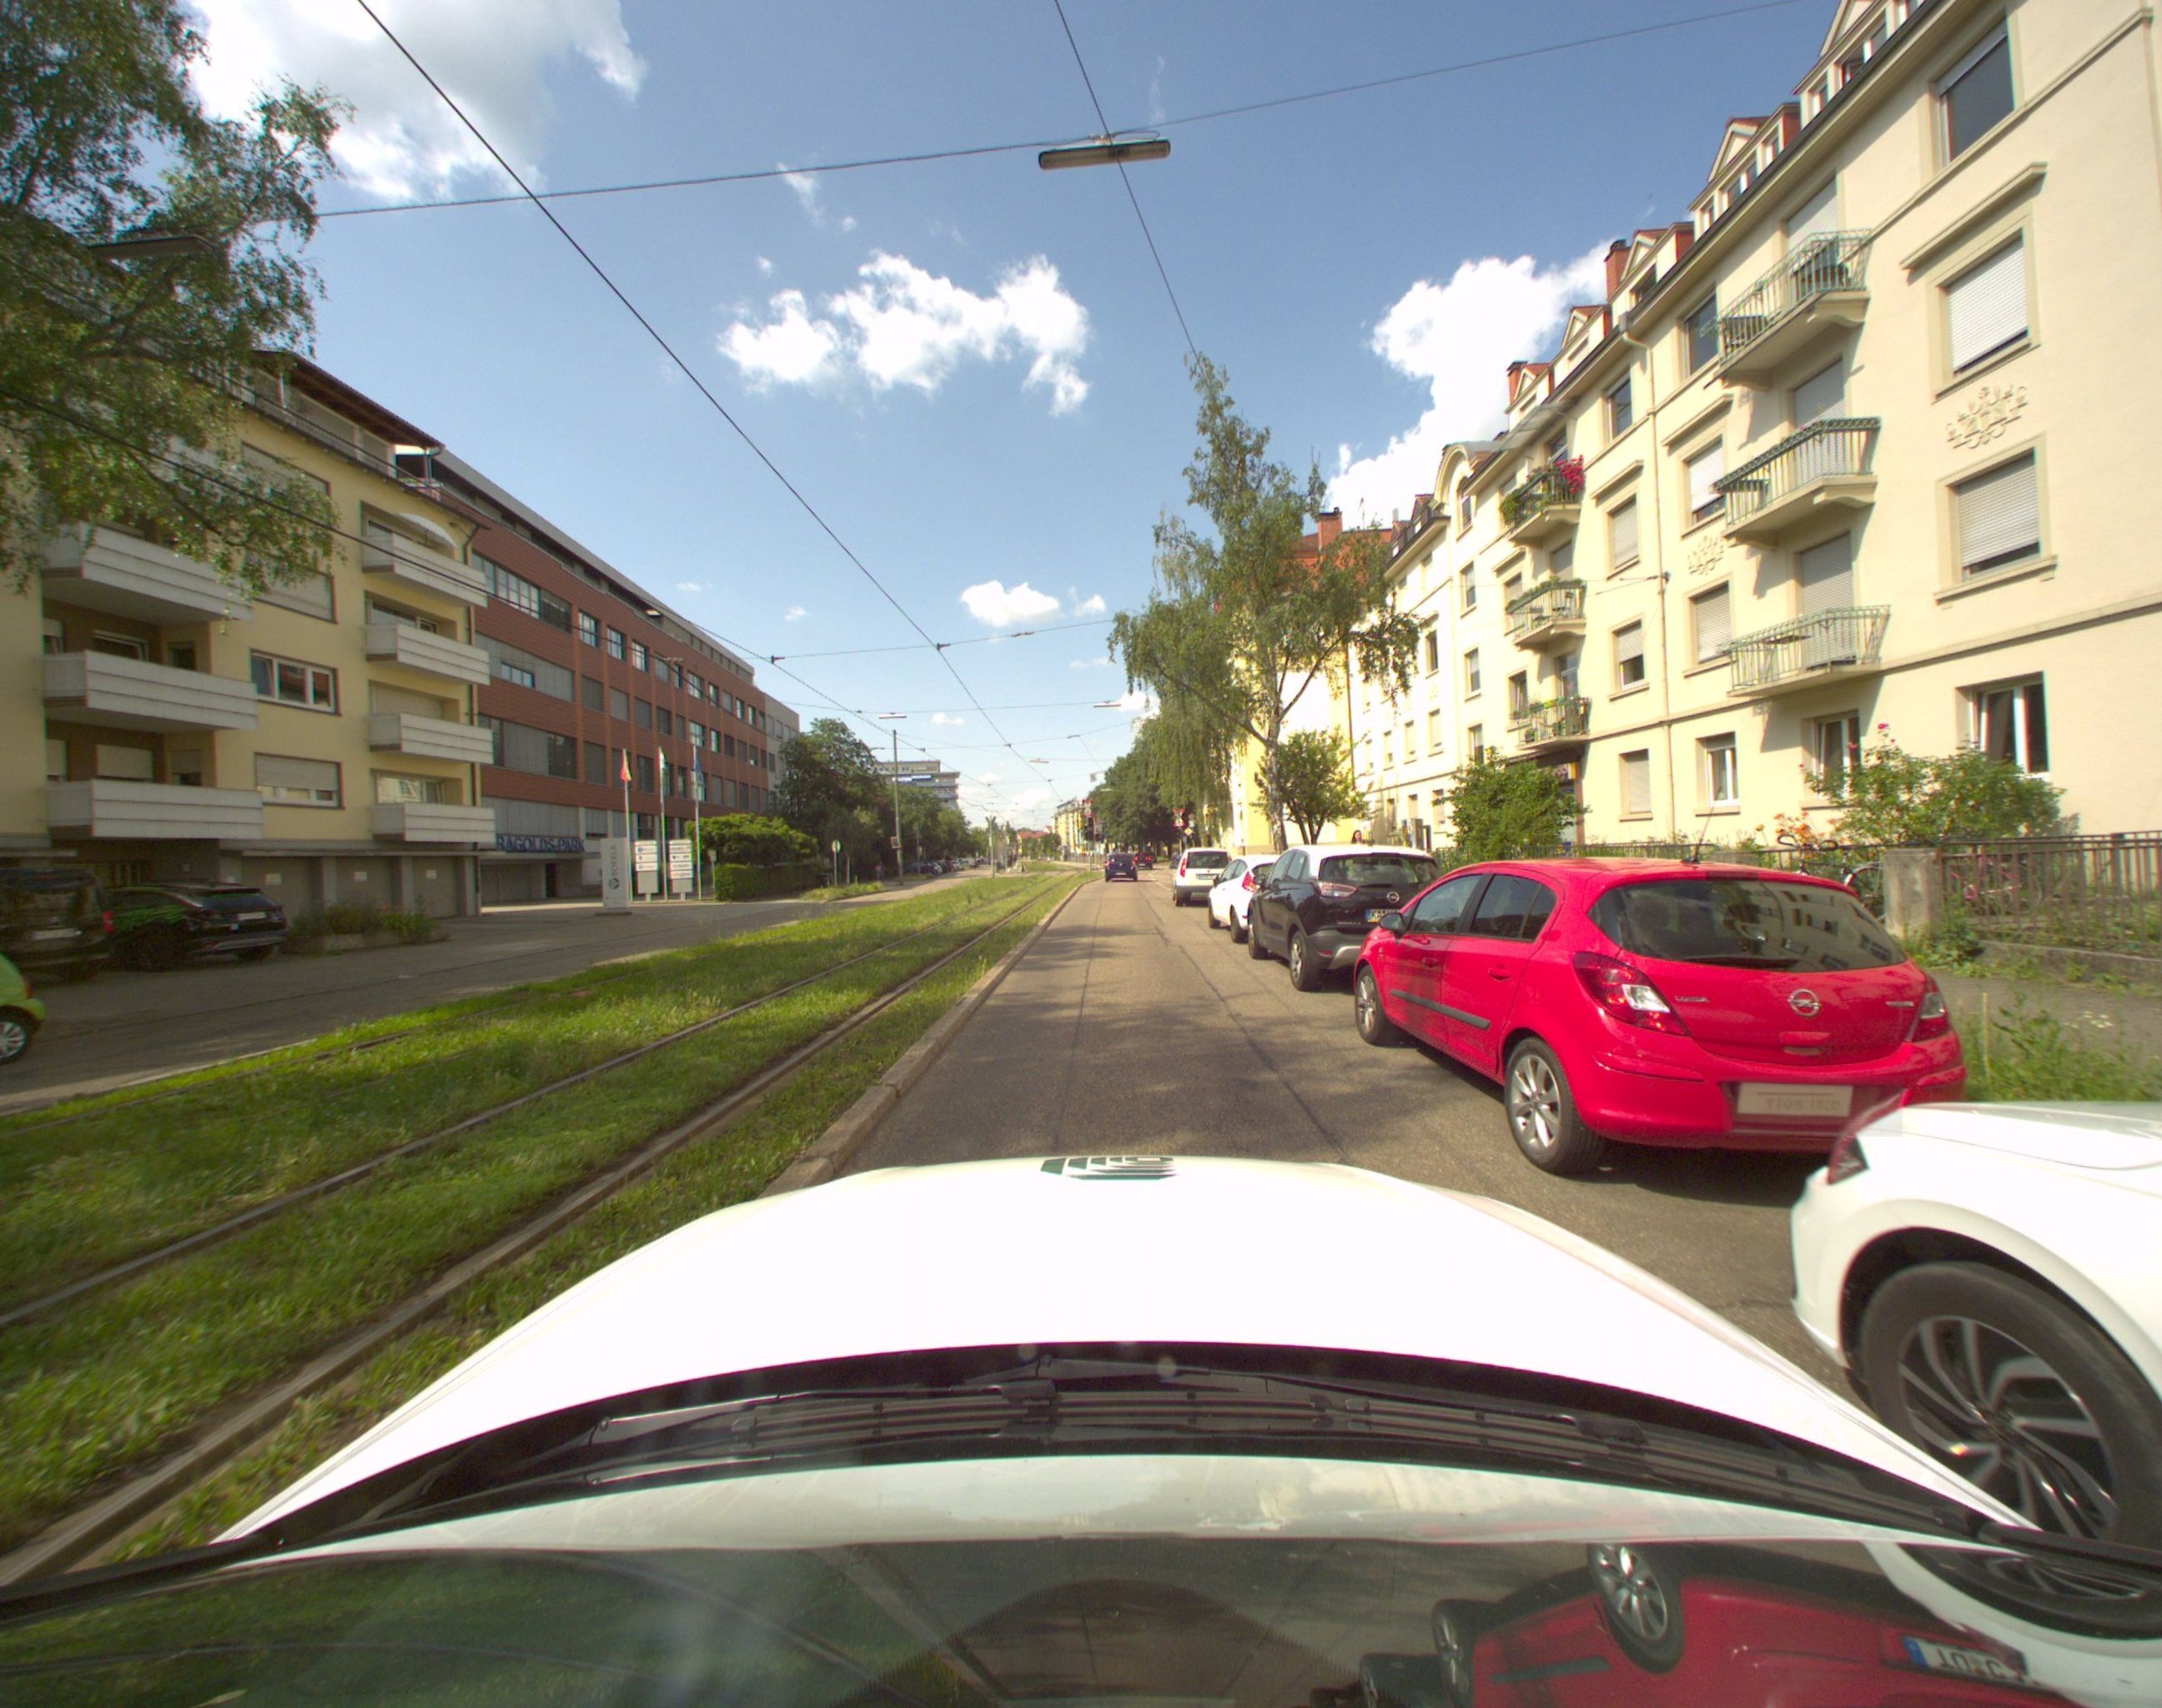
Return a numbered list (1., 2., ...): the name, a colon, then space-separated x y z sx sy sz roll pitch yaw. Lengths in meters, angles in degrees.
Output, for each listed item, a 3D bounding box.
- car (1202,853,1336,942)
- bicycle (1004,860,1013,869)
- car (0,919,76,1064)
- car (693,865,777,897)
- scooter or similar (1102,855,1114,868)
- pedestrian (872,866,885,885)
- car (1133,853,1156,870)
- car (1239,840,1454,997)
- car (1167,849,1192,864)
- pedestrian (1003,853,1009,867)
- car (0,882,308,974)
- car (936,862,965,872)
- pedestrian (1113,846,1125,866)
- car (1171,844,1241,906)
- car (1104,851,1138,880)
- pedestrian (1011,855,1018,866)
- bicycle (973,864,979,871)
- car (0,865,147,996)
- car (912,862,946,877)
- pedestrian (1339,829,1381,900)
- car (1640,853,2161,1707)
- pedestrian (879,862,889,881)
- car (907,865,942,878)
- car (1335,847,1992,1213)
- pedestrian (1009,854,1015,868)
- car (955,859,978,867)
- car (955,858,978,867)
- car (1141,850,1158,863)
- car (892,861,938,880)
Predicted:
1. car: 3.299 0.702 14.958 1.666 1.417 3.796 0 0 1
2. bicycle: -8.524 1.250 95.862 0.682 0.974 1.774 -5 0 6
3. car: -11.965 1.484 7.172 1.587 1.432 3.617 -3 0 3
4. car: -20.047 1.545 47.314 3.975 1.596 1.999 -2 0 -1
5. scooter or similar: 2.489 0.703 75.091 0.952 1.064 0.796 -4 0 -5
6. pedestrian: -17.123 1.785 68.946 0.742 1.574 0.890 -3 -2 4
7. car: 5.275 0.584 68.450 1.694 1.368 3.514 0 0 0
8. car: 3.034 0.649 10.078 1.488 1.579 3.759 0 0 1
9. car: 9.933 0.260 82.589 1.762 1.433 3.897 -3 0 -5
10. pedestrian: -9.440 0.788 102.661 0.653 1.692 0.655 -3 0 -3
11. car: -18.305 1.429 16.207 3.971 1.602 1.974 -1 0 2
12. car: -19.403 1.934 121.451 4.024 1.367 1.695 -3 0 -45
13. pedestrian: 3.528 0.202 75.419 0.869 1.775 1.002 -4 0 -3
14. car: 3.501 0.544 23.409 1.713 1.629 4.005 0 0 5
15. car: 2.192 0.612 44.195 1.760 1.462 3.779 -2 0 3
16. pedestrian: -8.859 0.932 108.840 0.648 1.426 0.567 -3 0 33
17. bicycle: -16.556 2.154 128.194 0.678 0.971 2.178 -3 0 0
18. car: -18.807 1.228 13.779 3.967 2.013 1.940 -1 0 5
19. car: -17.072 1.736 91.323 3.407 1.505 1.526 -2 0 -42
20. pedestrian: 6.922 0.251 20.245 0.726 1.683 0.692 -4 0 5
21. car: 2.609 0.724 0.704 1.614 1.452 3.919 0 0 1
22. pedestrian: -17.286 1.511 71.396 0.554 1.657 0.748 -3 -1 4
23. car: -16.893 1.883 87.891 3.408 1.236 1.525 -2 0 -43
24. car: 2.968 0.717 5.238 1.583 1.452 3.846 1 0 2
25. pedestrian: -9.194 0.958 108.086 0.601 1.766 0.640 -2 0 5
26. car: -20.568 1.620 146.584 1.618 1.385 4.025 -3 0 41
27. car: -21.330 1.619 151.907 4.020 1.447 1.708 -2 0 -38
28. car: 8.684 0.339 103.167 1.854 1.445 4.001 -4 0 2
29. car: -16.640 1.672 81.810 4.156 1.640 1.704 -2 0 -43
